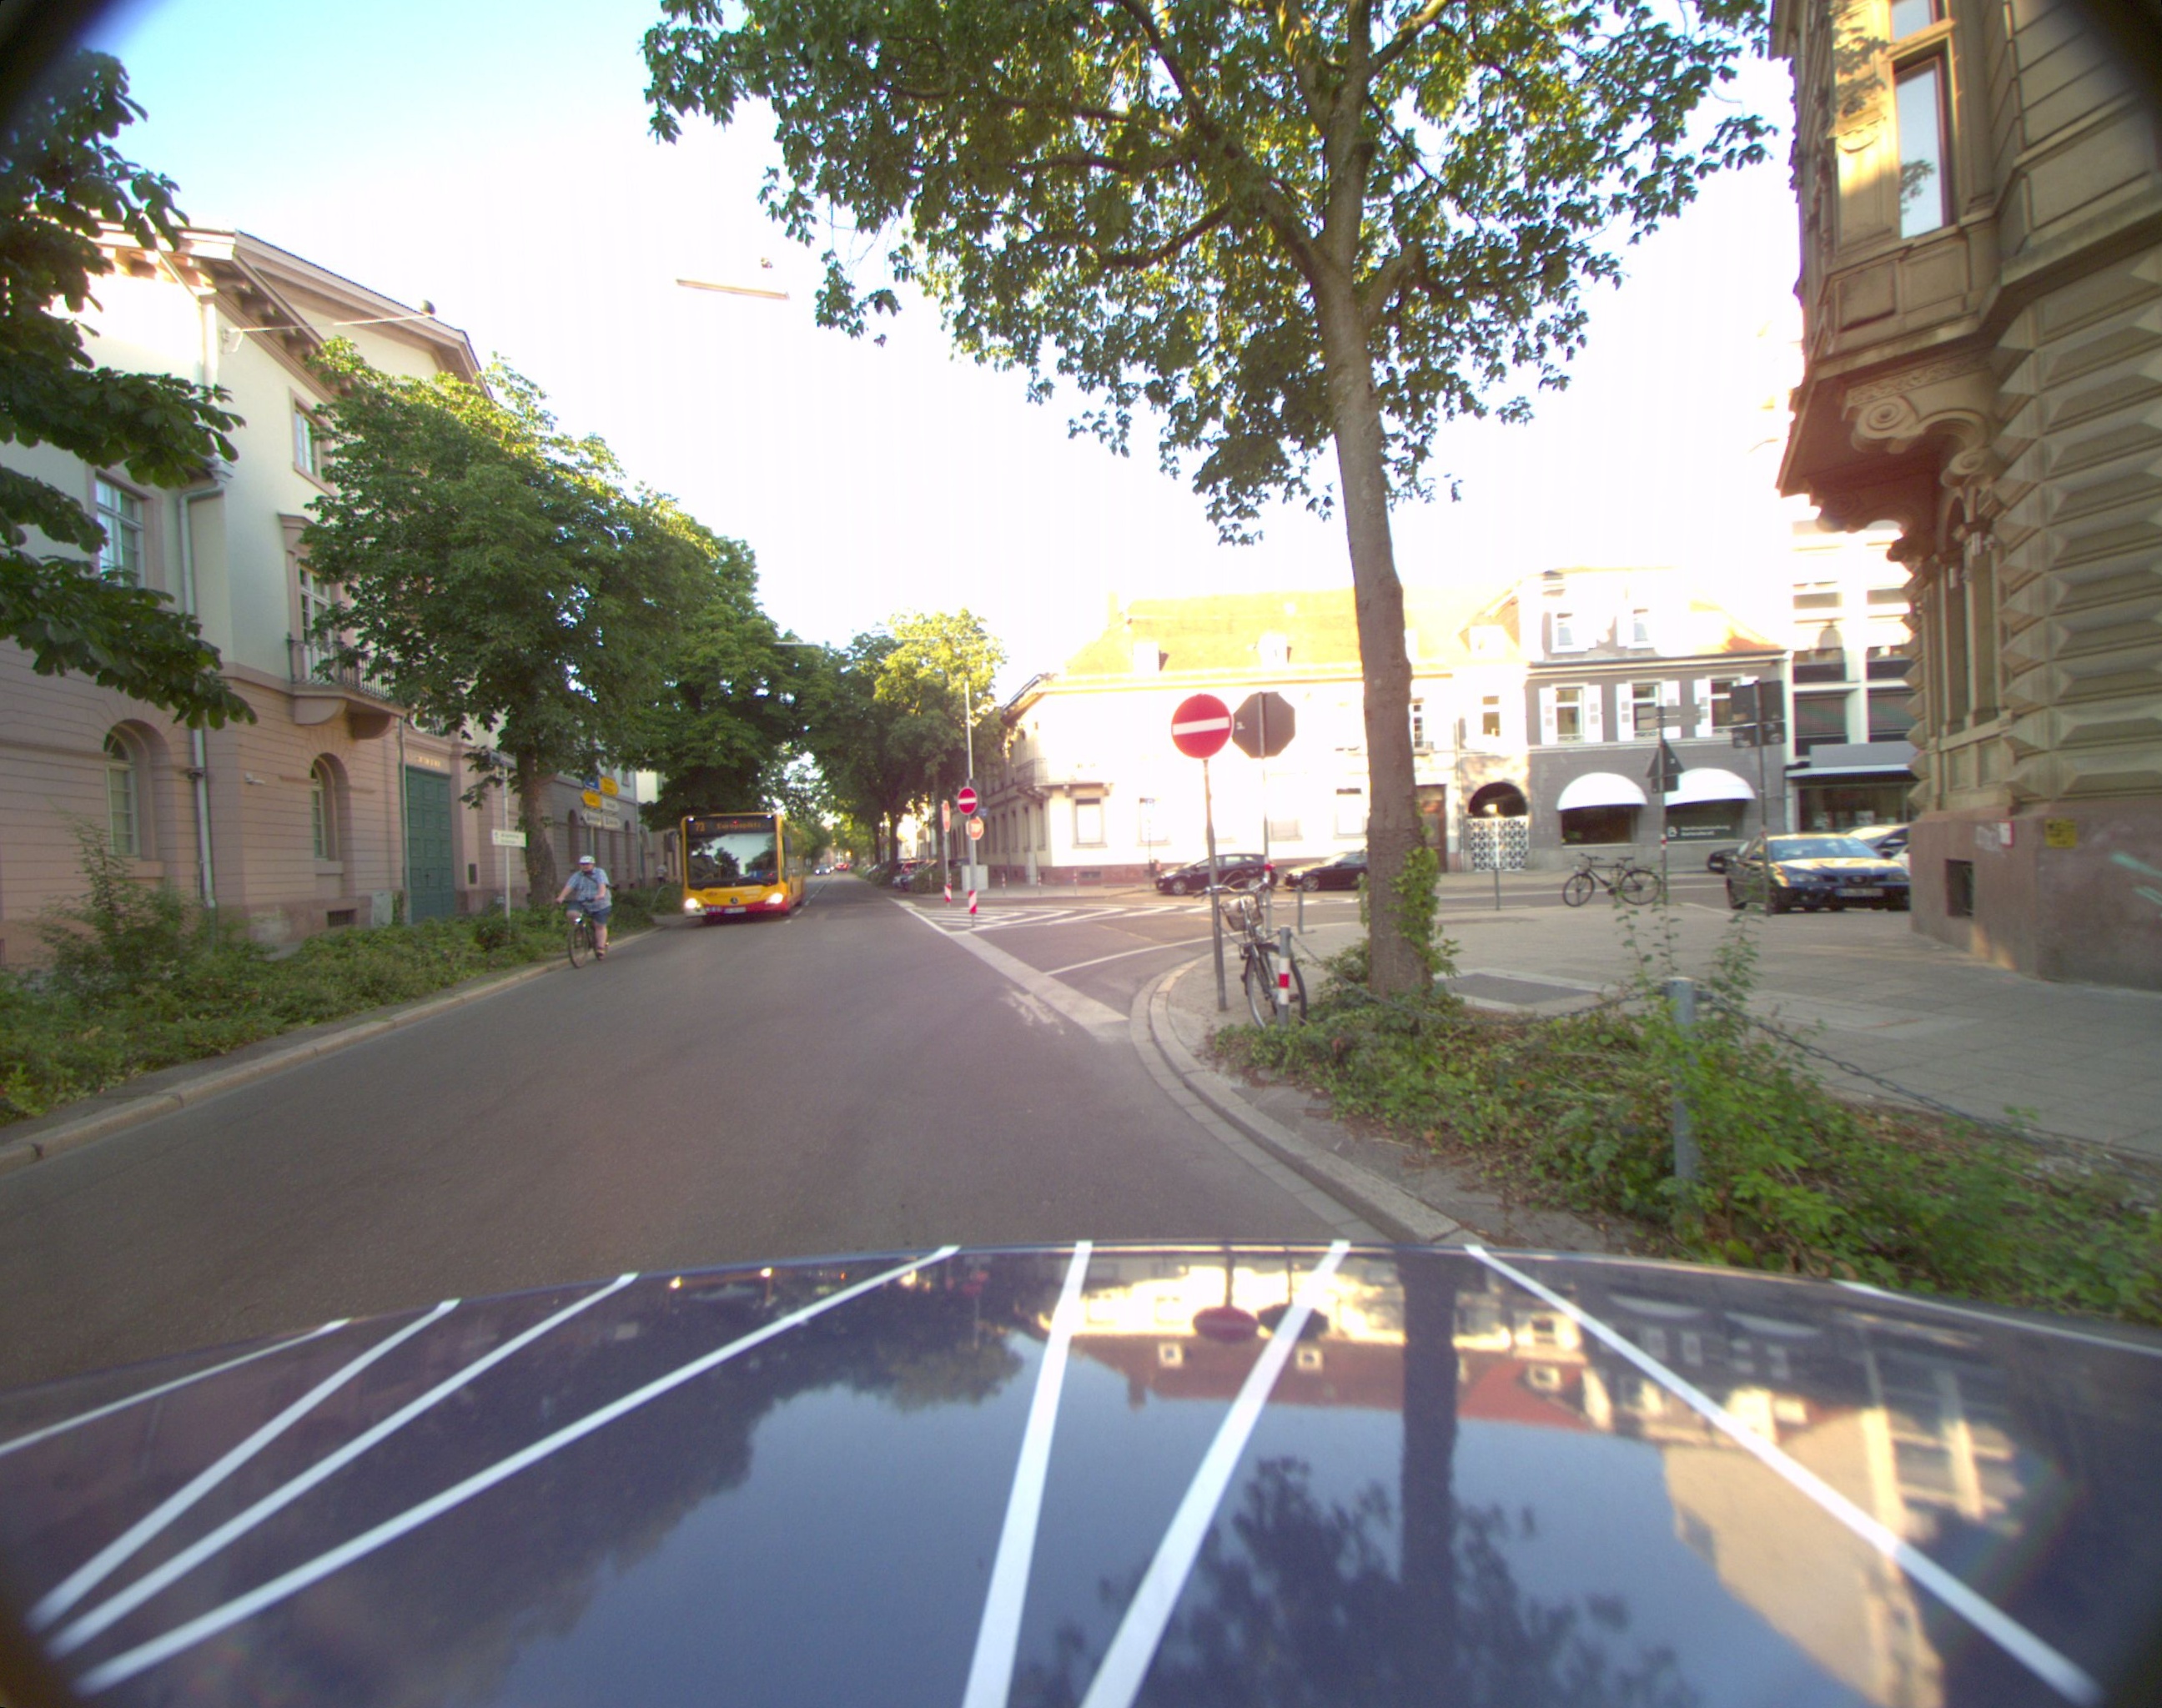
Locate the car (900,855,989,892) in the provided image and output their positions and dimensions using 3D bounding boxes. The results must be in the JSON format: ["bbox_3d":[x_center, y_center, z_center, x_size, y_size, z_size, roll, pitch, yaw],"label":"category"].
[{"bbox_3d":[-6.687,0.907,37.166,4.003,1.606,1.826,-2,0,-19],"label":"car"}]

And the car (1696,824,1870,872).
[{"bbox_3d":[24.327,-0.195,26.470,4.244,1.438,1.749,-2,0,5],"label":"car"}]

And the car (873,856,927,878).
[{"bbox_3d":[-14.490,1.032,60.712,4.003,1.606,1.721,-2,1,-19],"label":"car"}]

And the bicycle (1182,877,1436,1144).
[{"bbox_3d":[1.336,0.834,5.156,0.845,1.260,2.572,-2,0,-2],"label":"bicycle"}]

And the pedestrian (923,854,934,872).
[{"bbox_3d":[-15.138,0.922,75.334,0.896,1.760,1.020,-2,1,-18],"label":"pedestrian"}]

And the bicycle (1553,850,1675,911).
[{"bbox_3d":[10.566,0.531,15.135,1.800,1.119,0.729,-2,-2,14],"label":"bicycle"}]

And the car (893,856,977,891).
[{"bbox_3d":[-7.580,0.971,39.394,4.003,1.606,1.721,-2,1,-19],"label":"car"}]

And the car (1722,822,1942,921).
[{"bbox_3d":[12.773,0.344,13.235,1.736,1.452,3.872,-2,-3,30],"label":"car"}]

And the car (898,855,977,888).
[{"bbox_3d":[-7.905,0.945,41.838,4.003,1.606,1.721,-2,1,-19],"label":"car"}]

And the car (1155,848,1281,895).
[{"bbox_3d":[4.969,0.640,28.072,4.425,1.532,1.808,-2,0,6],"label":"car"}]

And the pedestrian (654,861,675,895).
[{"bbox_3d":[-23.311,1.339,42.526,0.801,1.821,0.928,-2,1,-19],"label":"pedestrian"}]

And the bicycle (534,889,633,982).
[{"bbox_3d":[-8.432,1.324,12.987,0.784,1.322,2.075,-4,1,-17],"label":"bicycle"}]

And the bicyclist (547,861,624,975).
[{"bbox_3d":[-8.457,1.063,13.010,0.784,1.829,0.825,-4,1,-17],"label":"bicyclist"}]

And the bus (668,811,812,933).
[{"bbox_3d":[-10.848,0.484,25.475,2.715,2.983,12.064,-4,1,-17],"label":"bus"}]

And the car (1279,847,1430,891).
[{"bbox_3d":[9.823,0.546,27.582,4.851,1.386,1.780,-2,0,7],"label":"car"}]

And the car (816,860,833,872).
[{"bbox_3d":[-37.746,1.776,111.734,2.084,1.687,3.994,-2,0,-16],"label":"car"}]
